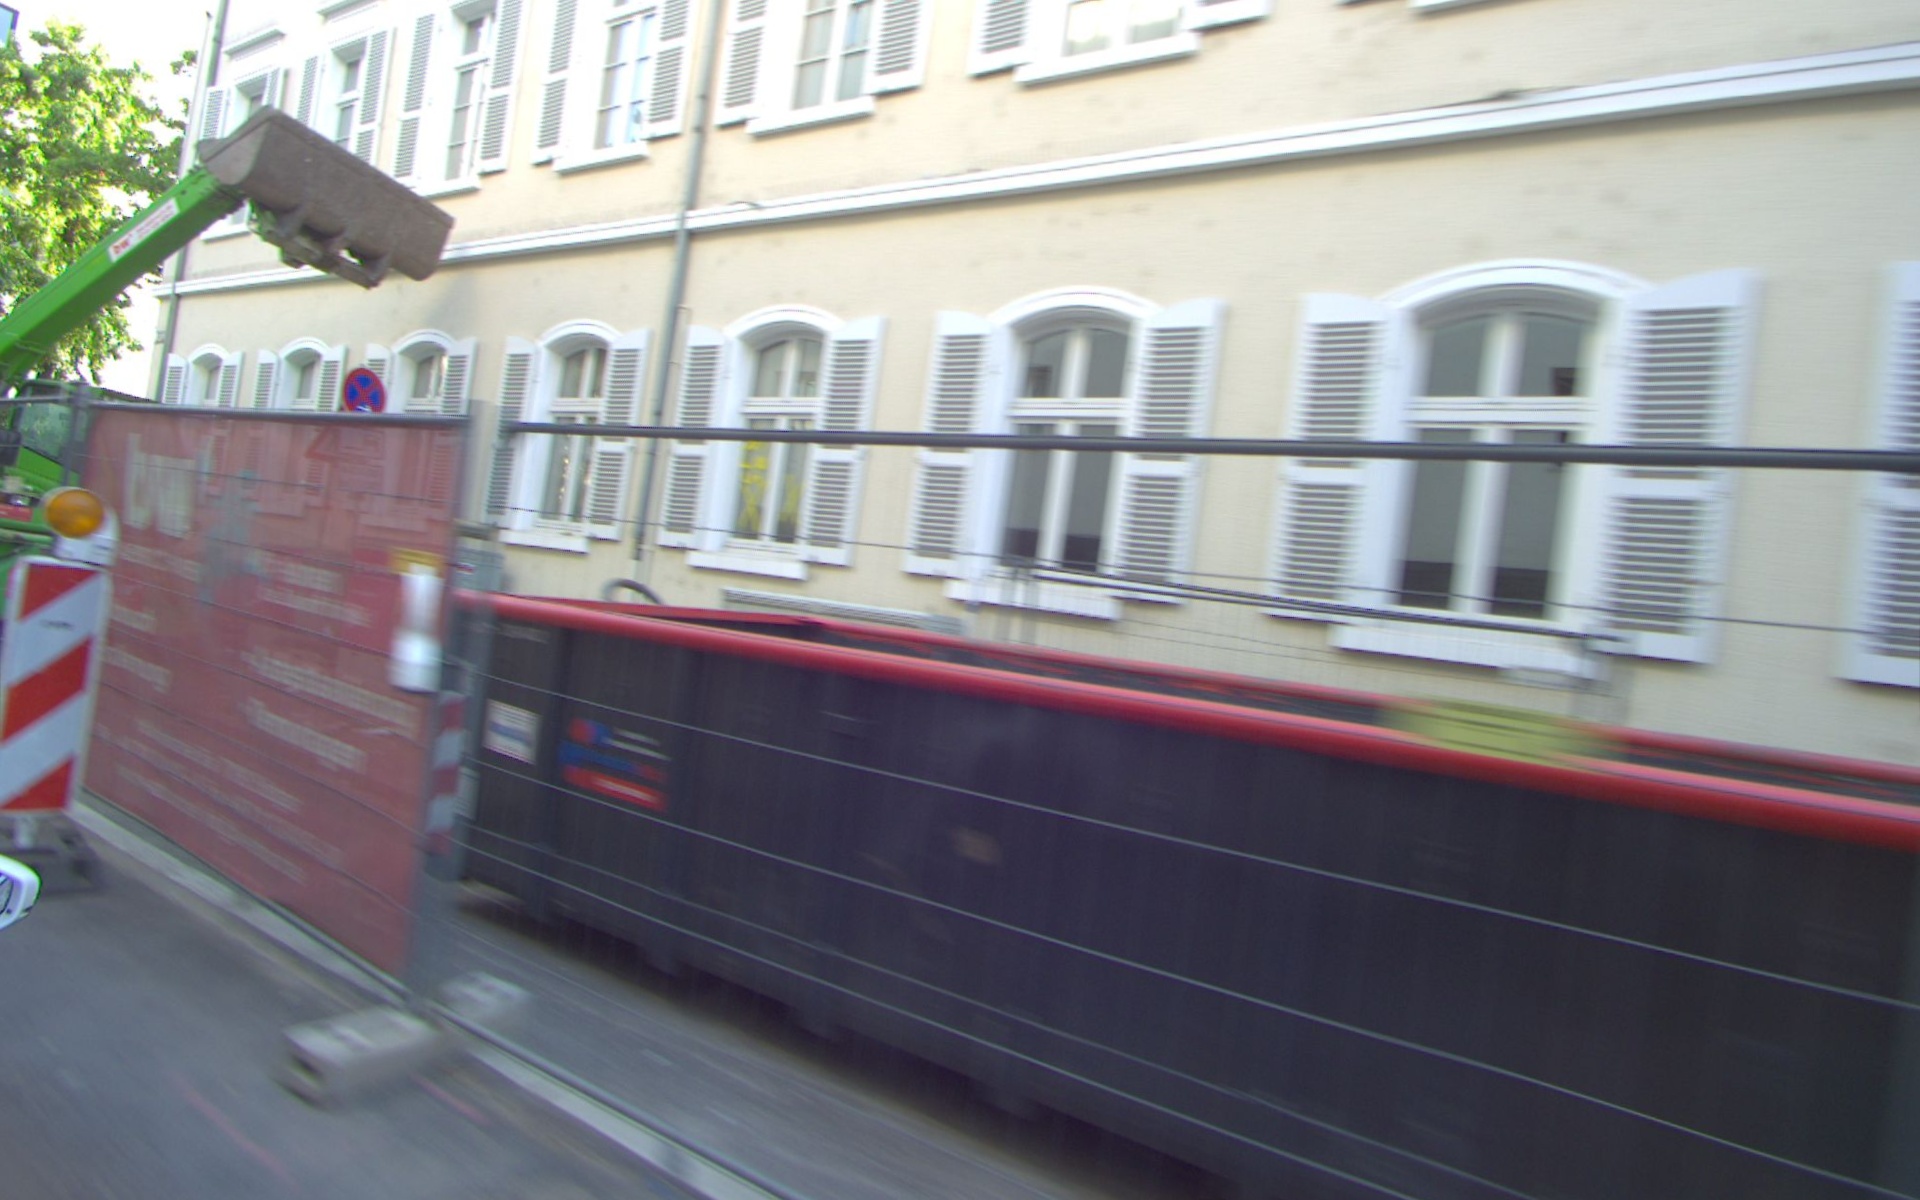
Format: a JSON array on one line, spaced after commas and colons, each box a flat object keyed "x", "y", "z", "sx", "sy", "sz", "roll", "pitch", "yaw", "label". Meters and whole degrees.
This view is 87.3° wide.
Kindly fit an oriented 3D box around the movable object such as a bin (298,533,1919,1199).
[{"x": 1.029, "y": 1.093, "z": 3.739, "sx": 7.425, "sy": 1.656, "sz": 2.743, "roll": 7, "pitch": -3, "yaw": 31, "label": "movable object such as a bin"}]

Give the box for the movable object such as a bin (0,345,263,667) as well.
[{"x": -10.311, "y": -1.047, "z": 11.037, "sx": 4.376, "sy": 2.872, "sz": 2.609, "roll": 7, "pitch": -1, "yaw": 32, "label": "movable object such as a bin"}]
